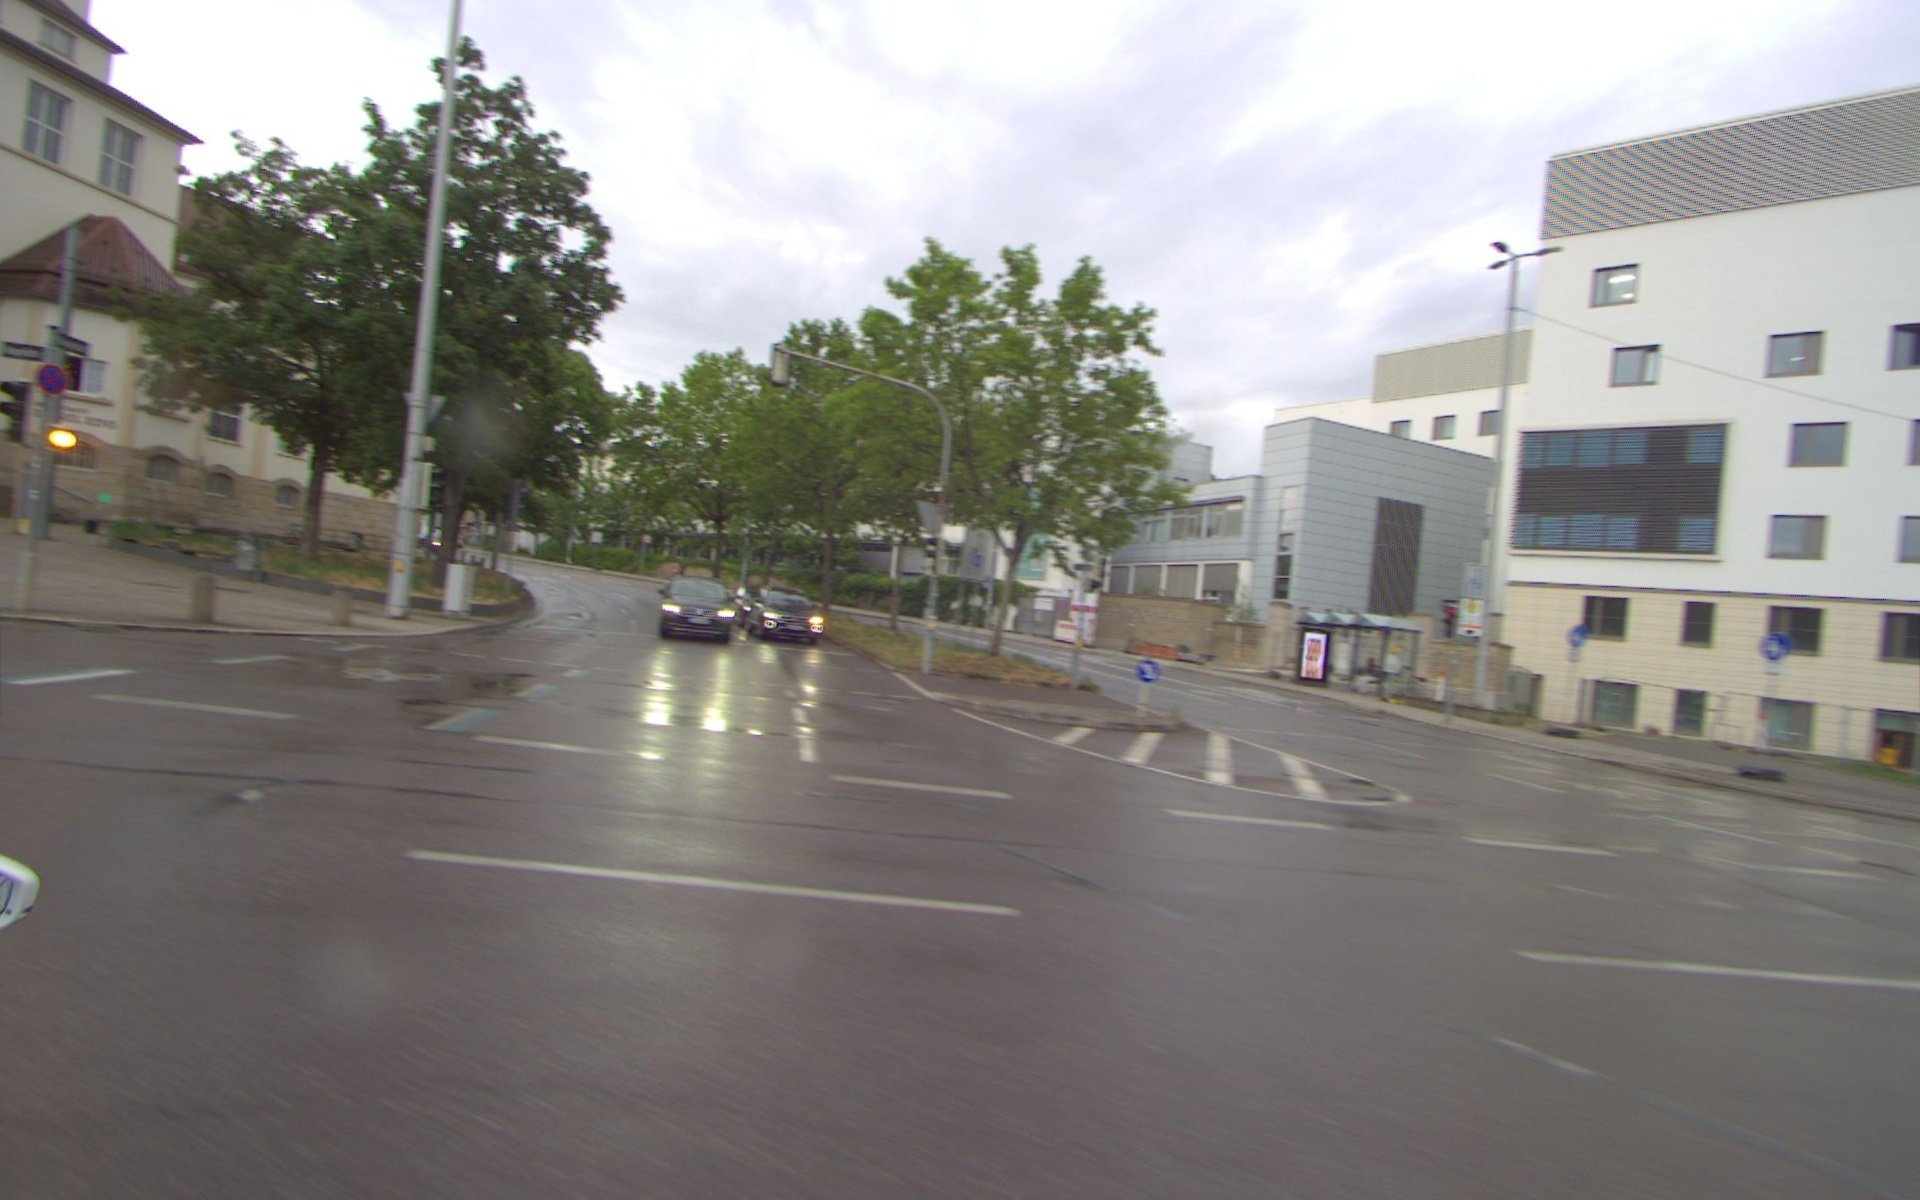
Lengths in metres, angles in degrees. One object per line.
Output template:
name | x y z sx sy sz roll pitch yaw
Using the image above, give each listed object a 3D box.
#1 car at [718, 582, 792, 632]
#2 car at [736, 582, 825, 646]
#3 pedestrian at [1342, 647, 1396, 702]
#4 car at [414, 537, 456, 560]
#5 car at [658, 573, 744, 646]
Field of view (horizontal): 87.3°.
car | -7.516 0.231 36.632 1.771 1.459 3.979 7 0 -23
car | -5.625 0.375 31.174 1.771 1.604 3.979 7 0 -23
pedestrian | 14.364 2.592 35.355 1.239 1.739 1.016 8 -1 -3
car | -41.646 -4.107 79.785 1.784 1.459 3.949 7 0 -44
car | -7.076 0.197 27.199 1.846 1.584 4.258 6 0 -18
